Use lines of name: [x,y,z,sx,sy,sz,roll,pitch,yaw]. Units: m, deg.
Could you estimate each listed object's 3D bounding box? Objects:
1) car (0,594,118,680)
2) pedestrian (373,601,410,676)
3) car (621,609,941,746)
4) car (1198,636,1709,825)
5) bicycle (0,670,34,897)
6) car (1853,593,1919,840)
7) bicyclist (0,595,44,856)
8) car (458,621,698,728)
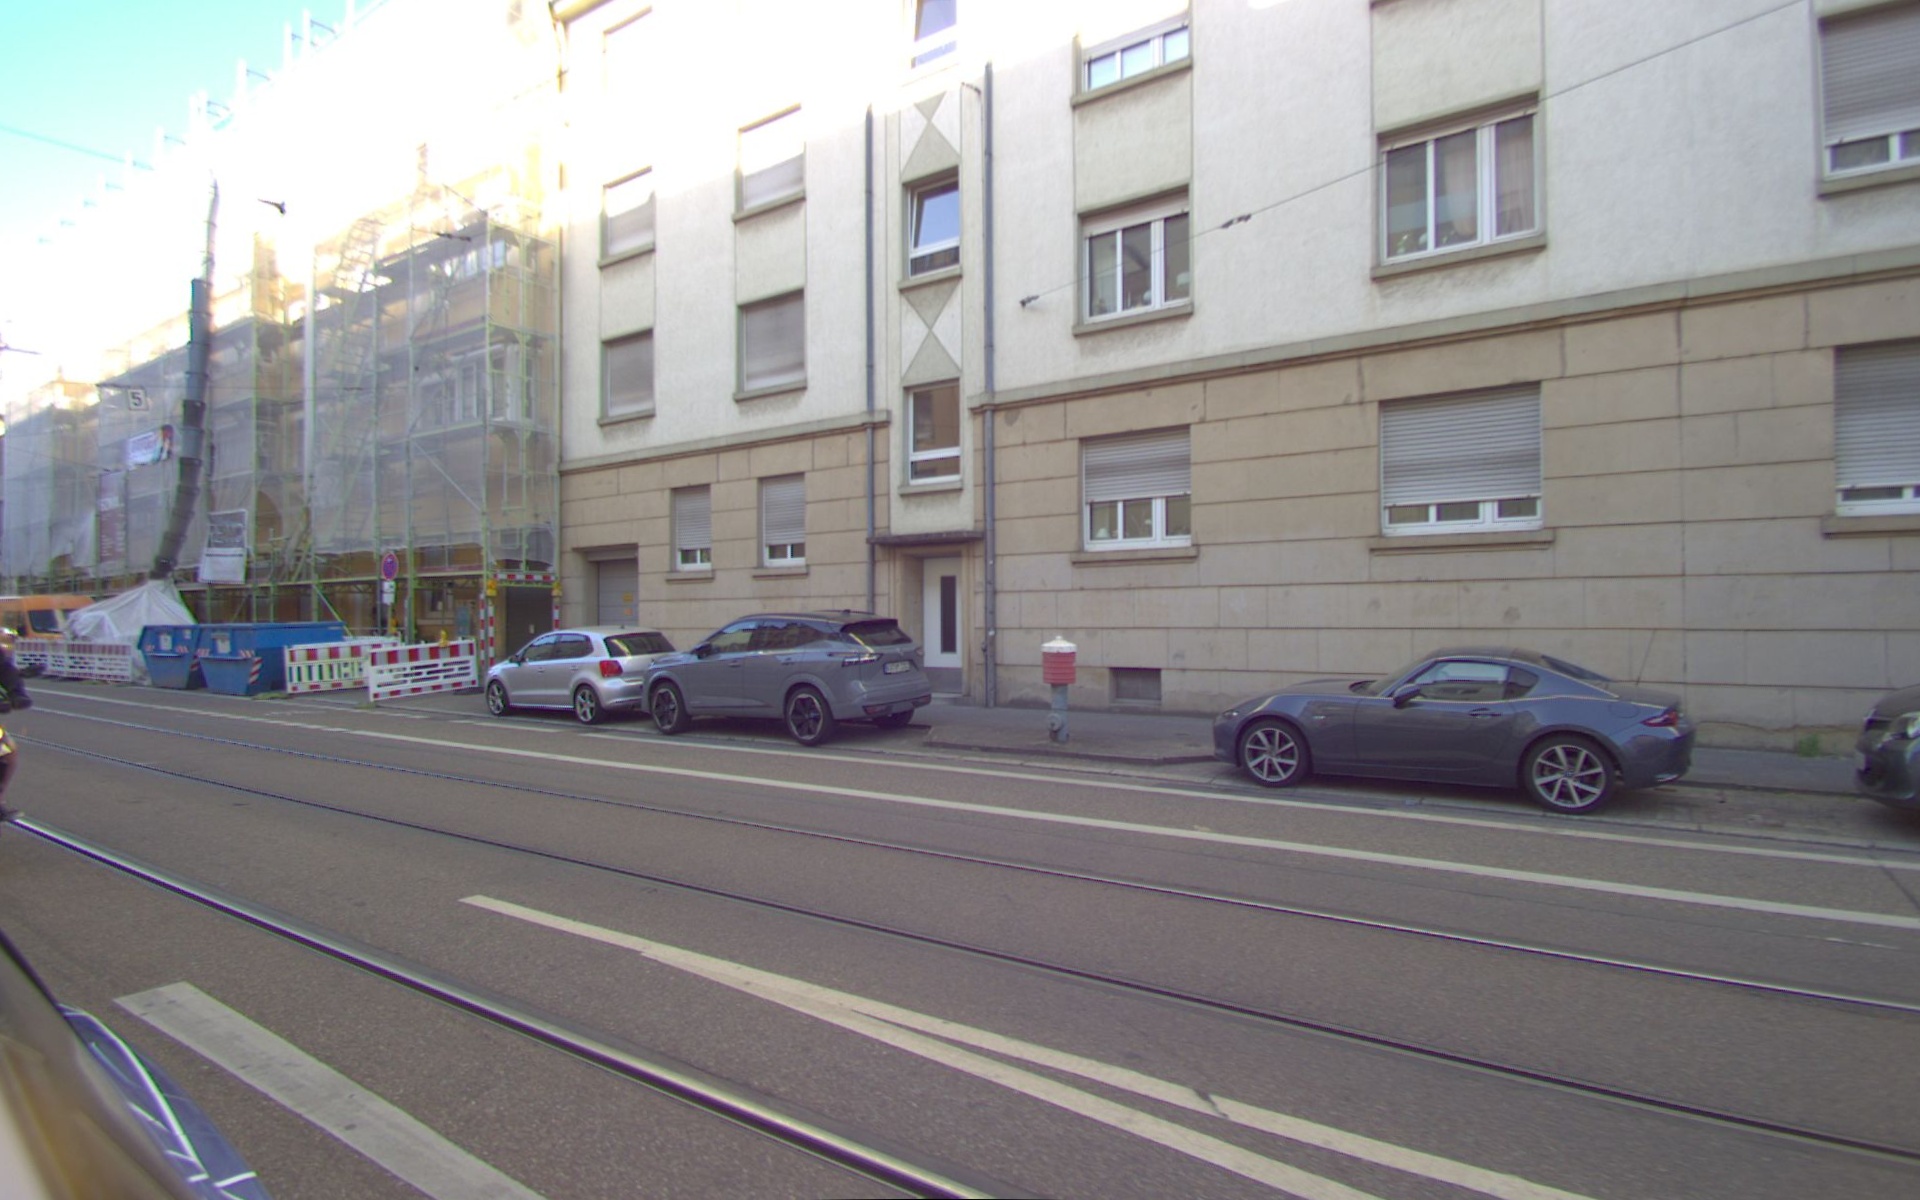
car: [-28.752,1.159,31.776,5.987,2.488,2.101,-1,-2,36]
pedestrian: [-13.433,0.897,23.921,0.704,1.707,0.584,-1,0,-28]
car: [-2.519,0.950,13.690,4.396,1.580,1.684,-1,-1,36]
car: [4.222,0.990,8.966,3.776,1.225,1.685,-1,1,34]
bicycle: [-6.144,1.060,6.127,0.729,1.186,1.977,1,-2,-41]
car: [8.218,0.738,6.158,3.992,1.581,1.684,-1,1,36]
bicyclist: [-6.237,0.757,6.234,0.831,1.566,0.851,1,-2,-40]
car: [-6.229,1.107,16.370,3.992,1.426,1.685,-1,2,36]
